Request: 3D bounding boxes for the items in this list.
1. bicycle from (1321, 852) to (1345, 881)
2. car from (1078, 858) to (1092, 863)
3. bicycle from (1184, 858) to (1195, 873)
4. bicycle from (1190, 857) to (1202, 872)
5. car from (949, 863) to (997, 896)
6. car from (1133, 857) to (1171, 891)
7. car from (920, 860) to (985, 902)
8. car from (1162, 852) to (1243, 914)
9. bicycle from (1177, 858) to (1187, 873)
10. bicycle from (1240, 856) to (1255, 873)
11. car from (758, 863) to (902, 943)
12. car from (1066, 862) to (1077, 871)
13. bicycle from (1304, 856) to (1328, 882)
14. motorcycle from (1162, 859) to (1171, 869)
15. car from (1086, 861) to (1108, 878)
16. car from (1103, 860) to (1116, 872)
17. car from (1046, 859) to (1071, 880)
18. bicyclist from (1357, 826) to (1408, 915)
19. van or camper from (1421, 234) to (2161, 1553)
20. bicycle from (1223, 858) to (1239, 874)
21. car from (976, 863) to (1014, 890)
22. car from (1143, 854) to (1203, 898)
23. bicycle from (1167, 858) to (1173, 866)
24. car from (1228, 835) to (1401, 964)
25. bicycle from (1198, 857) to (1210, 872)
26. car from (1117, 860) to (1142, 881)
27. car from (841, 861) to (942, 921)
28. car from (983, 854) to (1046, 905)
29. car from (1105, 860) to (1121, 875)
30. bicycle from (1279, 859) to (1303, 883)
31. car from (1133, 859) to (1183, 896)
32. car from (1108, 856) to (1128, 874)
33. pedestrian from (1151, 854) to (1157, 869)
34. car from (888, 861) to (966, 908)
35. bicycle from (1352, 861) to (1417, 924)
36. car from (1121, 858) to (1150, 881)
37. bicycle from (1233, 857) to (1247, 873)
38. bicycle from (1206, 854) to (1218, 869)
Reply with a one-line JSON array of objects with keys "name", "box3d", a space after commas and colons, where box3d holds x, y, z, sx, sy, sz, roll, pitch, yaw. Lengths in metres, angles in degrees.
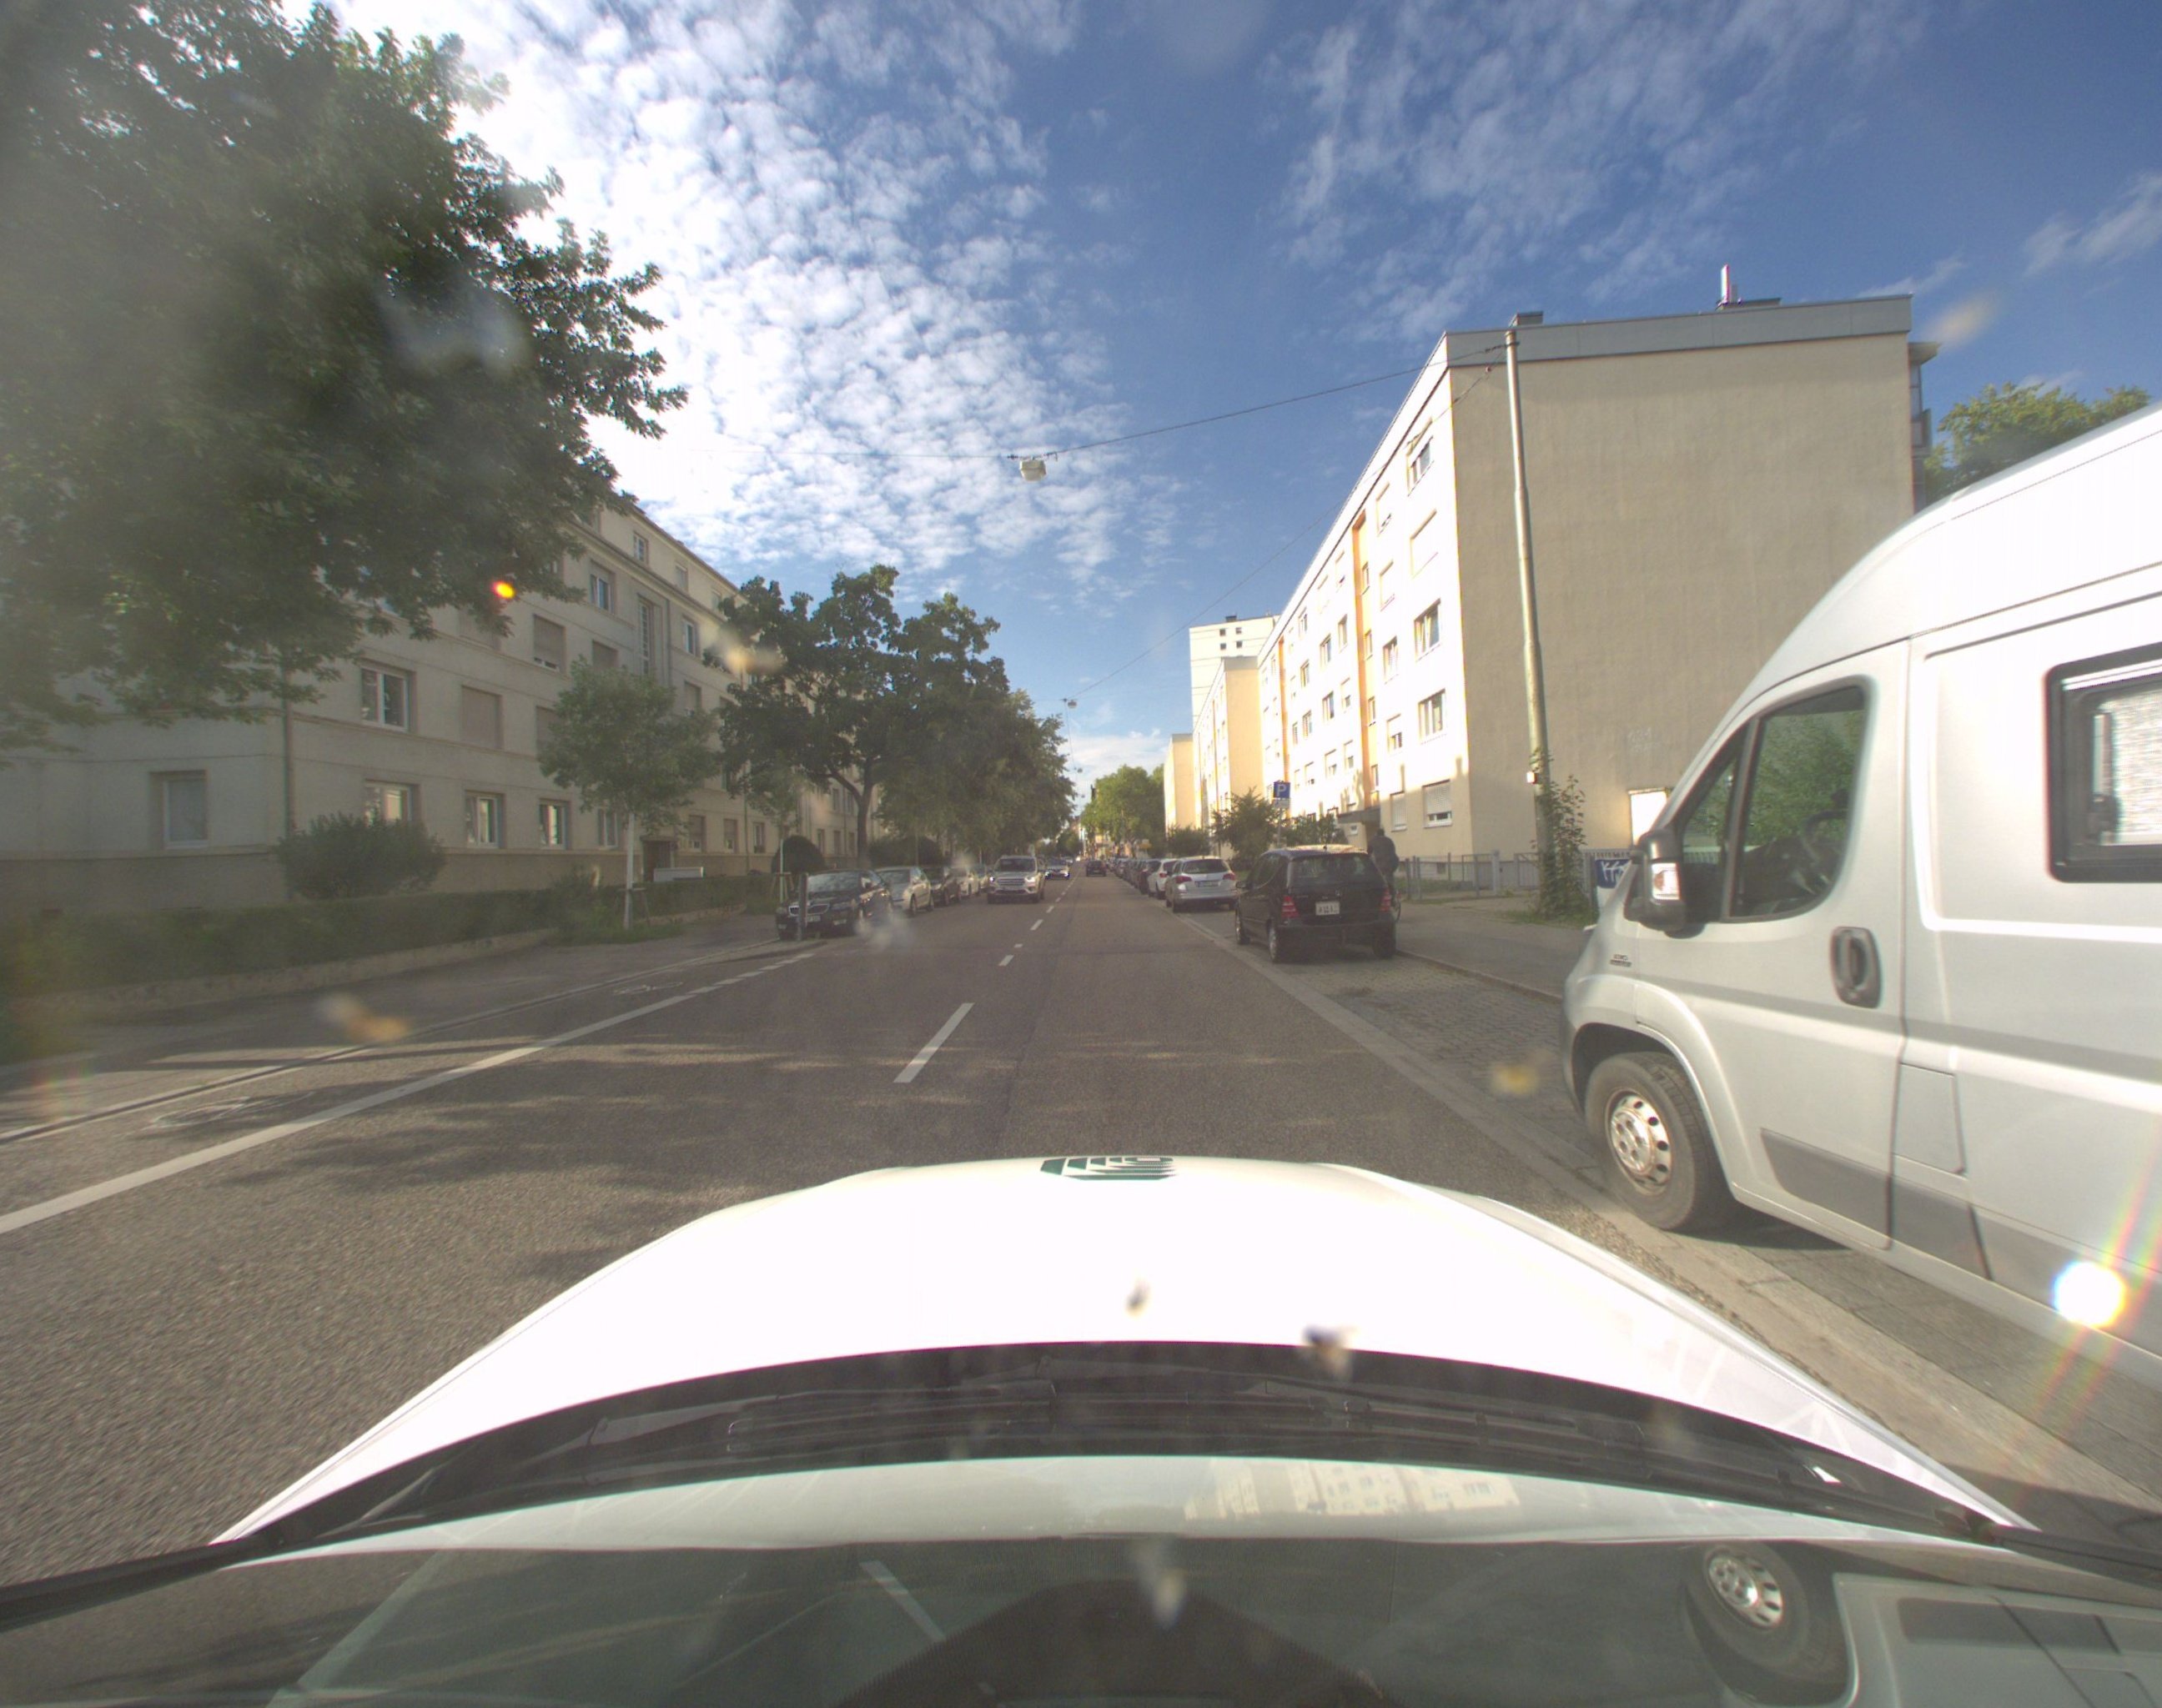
[{"name": "bicycle", "box3d": [10.978, 0.543, 35.511, 0.520, 1.216, 1.590, -3, -2, 0]}, {"name": "car", "box3d": [1.184, 2.096, 250.784, 3.983, 1.420, 1.995, -2, 0, -7]}, {"name": "bicycle", "box3d": [9.650, 1.021, 72.727, 0.602, 1.291, 2.635, -3, -1, 1]}, {"name": "bicycle", "box3d": [10.254, 0.955, 72.708, 0.593, 1.291, 2.635, -5, -1, 1]}, {"name": "car", "box3d": [-5.511, 1.277, 42.107, 1.850, 1.486, 4.681, -3, 0, -1]}, {"name": "car", "box3d": [3.476, 0.962, 40.470, 1.677, 1.501, 3.876, -3, 0, 2]}, {"name": "car", "box3d": [-5.412, 1.086, 34.953, 1.849, 1.486, 4.798, -5, 0, 0]}, {"name": "car", "box3d": [3.344, 0.750, 23.132, 1.756, 1.524, 4.332, -3, 0, 2]}, {"name": "bicycle", "box3d": [9.019, 1.049, 72.717, 0.602, 1.291, 2.635, -2, -1, 1]}, {"name": "bicycle", "box3d": [11.025, 0.688, 53.846, 0.500, 1.030, 2.069, -4, -1, 0]}, {"name": "car", "box3d": [-5.584, 1.017, 18.761, 1.922, 1.486, 4.418, -4, 0, -1]}, {"name": "car", "box3d": [-1.750, 2.272, 150.366, 1.852, 1.529, 4.012, -2, 0, 1]}, {"name": "bicycle", "box3d": [10.266, 0.666, 35.600, 0.520, 1.074, 1.590, -3, -2, 0]}, {"name": "motorcycle", "box3d": [9.537, 1.117, 90.890, 0.628, 1.045, 2.393, -3, -1, 0]}, {"name": "car", "box3d": [1.360, 1.361, 71.263, 1.746, 1.413, 3.999, -1, 0, -1]}, {"name": "car", "box3d": [3.860, 1.597, 109.741, 1.683, 1.528, 4.240, 0, 0, 3]}, {"name": "car", "box3d": [-1.694, 1.157, 61.758, 1.735, 1.501, 4.009, -2, -1, 0]}, {"name": "bicyclist", "box3d": [5.915, 0.315, 16.037, 0.621, 1.678, 0.893, -2, -1, 0]}, {"name": "van or camper", "box3d": [3.134, 0.052, 1.786, 2.153, 2.526, 5.913, -4, 0, 0]}, {"name": "bicycle", "box3d": [9.916, 0.796, 53.741, 0.591, 1.030, 2.119, -5, -1, 0]}, {"name": "car", "box3d": [-5.108, 1.305, 48.929, 1.733, 1.393, 4.664, -4, 0, 0]}, {"name": "car", "box3d": [3.420, 0.803, 30.928, 1.678, 1.468, 4.204, -3, 0, -1]}, {"name": "bicycle", "box3d": [12.023, 1.097, 110.142, 0.527, 1.115, 2.209, -3, 0, 1]}, {"name": "car", "box3d": [3.395, 0.600, 12.601, 1.666, 1.602, 3.973, -3, -1, 3]}, {"name": "bicycle", "box3d": [10.975, 0.896, 72.713, 0.724, 1.291, 2.635, -3, -1, 1]}, {"name": "car", "box3d": [3.700, 1.252, 63.049, 1.656, 1.416, 4.058, -3, -1, 0]}, {"name": "car", "box3d": [-5.489, 1.027, 24.167, 1.814, 1.486, 4.369, -4, 0, 1]}, {"name": "car", "box3d": [-2.339, 0.872, 29.510, 1.823, 1.669, 4.084, -2, -1, 1]}, {"name": "car", "box3d": [3.521, 1.485, 89.493, 1.722, 1.488, 4.643, -2, -1, 2]}, {"name": "bicycle", "box3d": [9.157, 0.746, 35.570, 0.594, 0.998, 1.692, -1, -2, 0]}, {"name": "car", "box3d": [3.305, 0.980, 35.830, 1.679, 1.435, 4.204, -3, 0, -1]}, {"name": "car", "box3d": [3.579, 1.078, 79.173, 1.723, 1.649, 4.115, -3, -1, 0]}, {"name": "pedestrian", "box3d": [8.579, 0.856, 95.422, 0.539, 1.721, 0.772, -3, -1, 6]}, {"name": "car", "box3d": [-5.478, 1.040, 29.566, 1.849, 1.486, 4.683, -2, 0, 0]}, {"name": "bicycle", "box3d": [5.944, 0.721, 16.067, 0.522, 1.135, 1.929, -2, 0, 0]}, {"name": "car", "box3d": [3.754, 1.070, 56.766, 1.656, 1.491, 3.941, -3, -1, 0]}, {"name": "bicycle", "box3d": [10.506, 0.735, 53.848, 0.500, 1.030, 2.095, -4, -1, 0]}, {"name": "bicycle", "box3d": [11.684, 0.697, 72.780, 0.724, 1.291, 2.635, -1, -1, 1]}]
